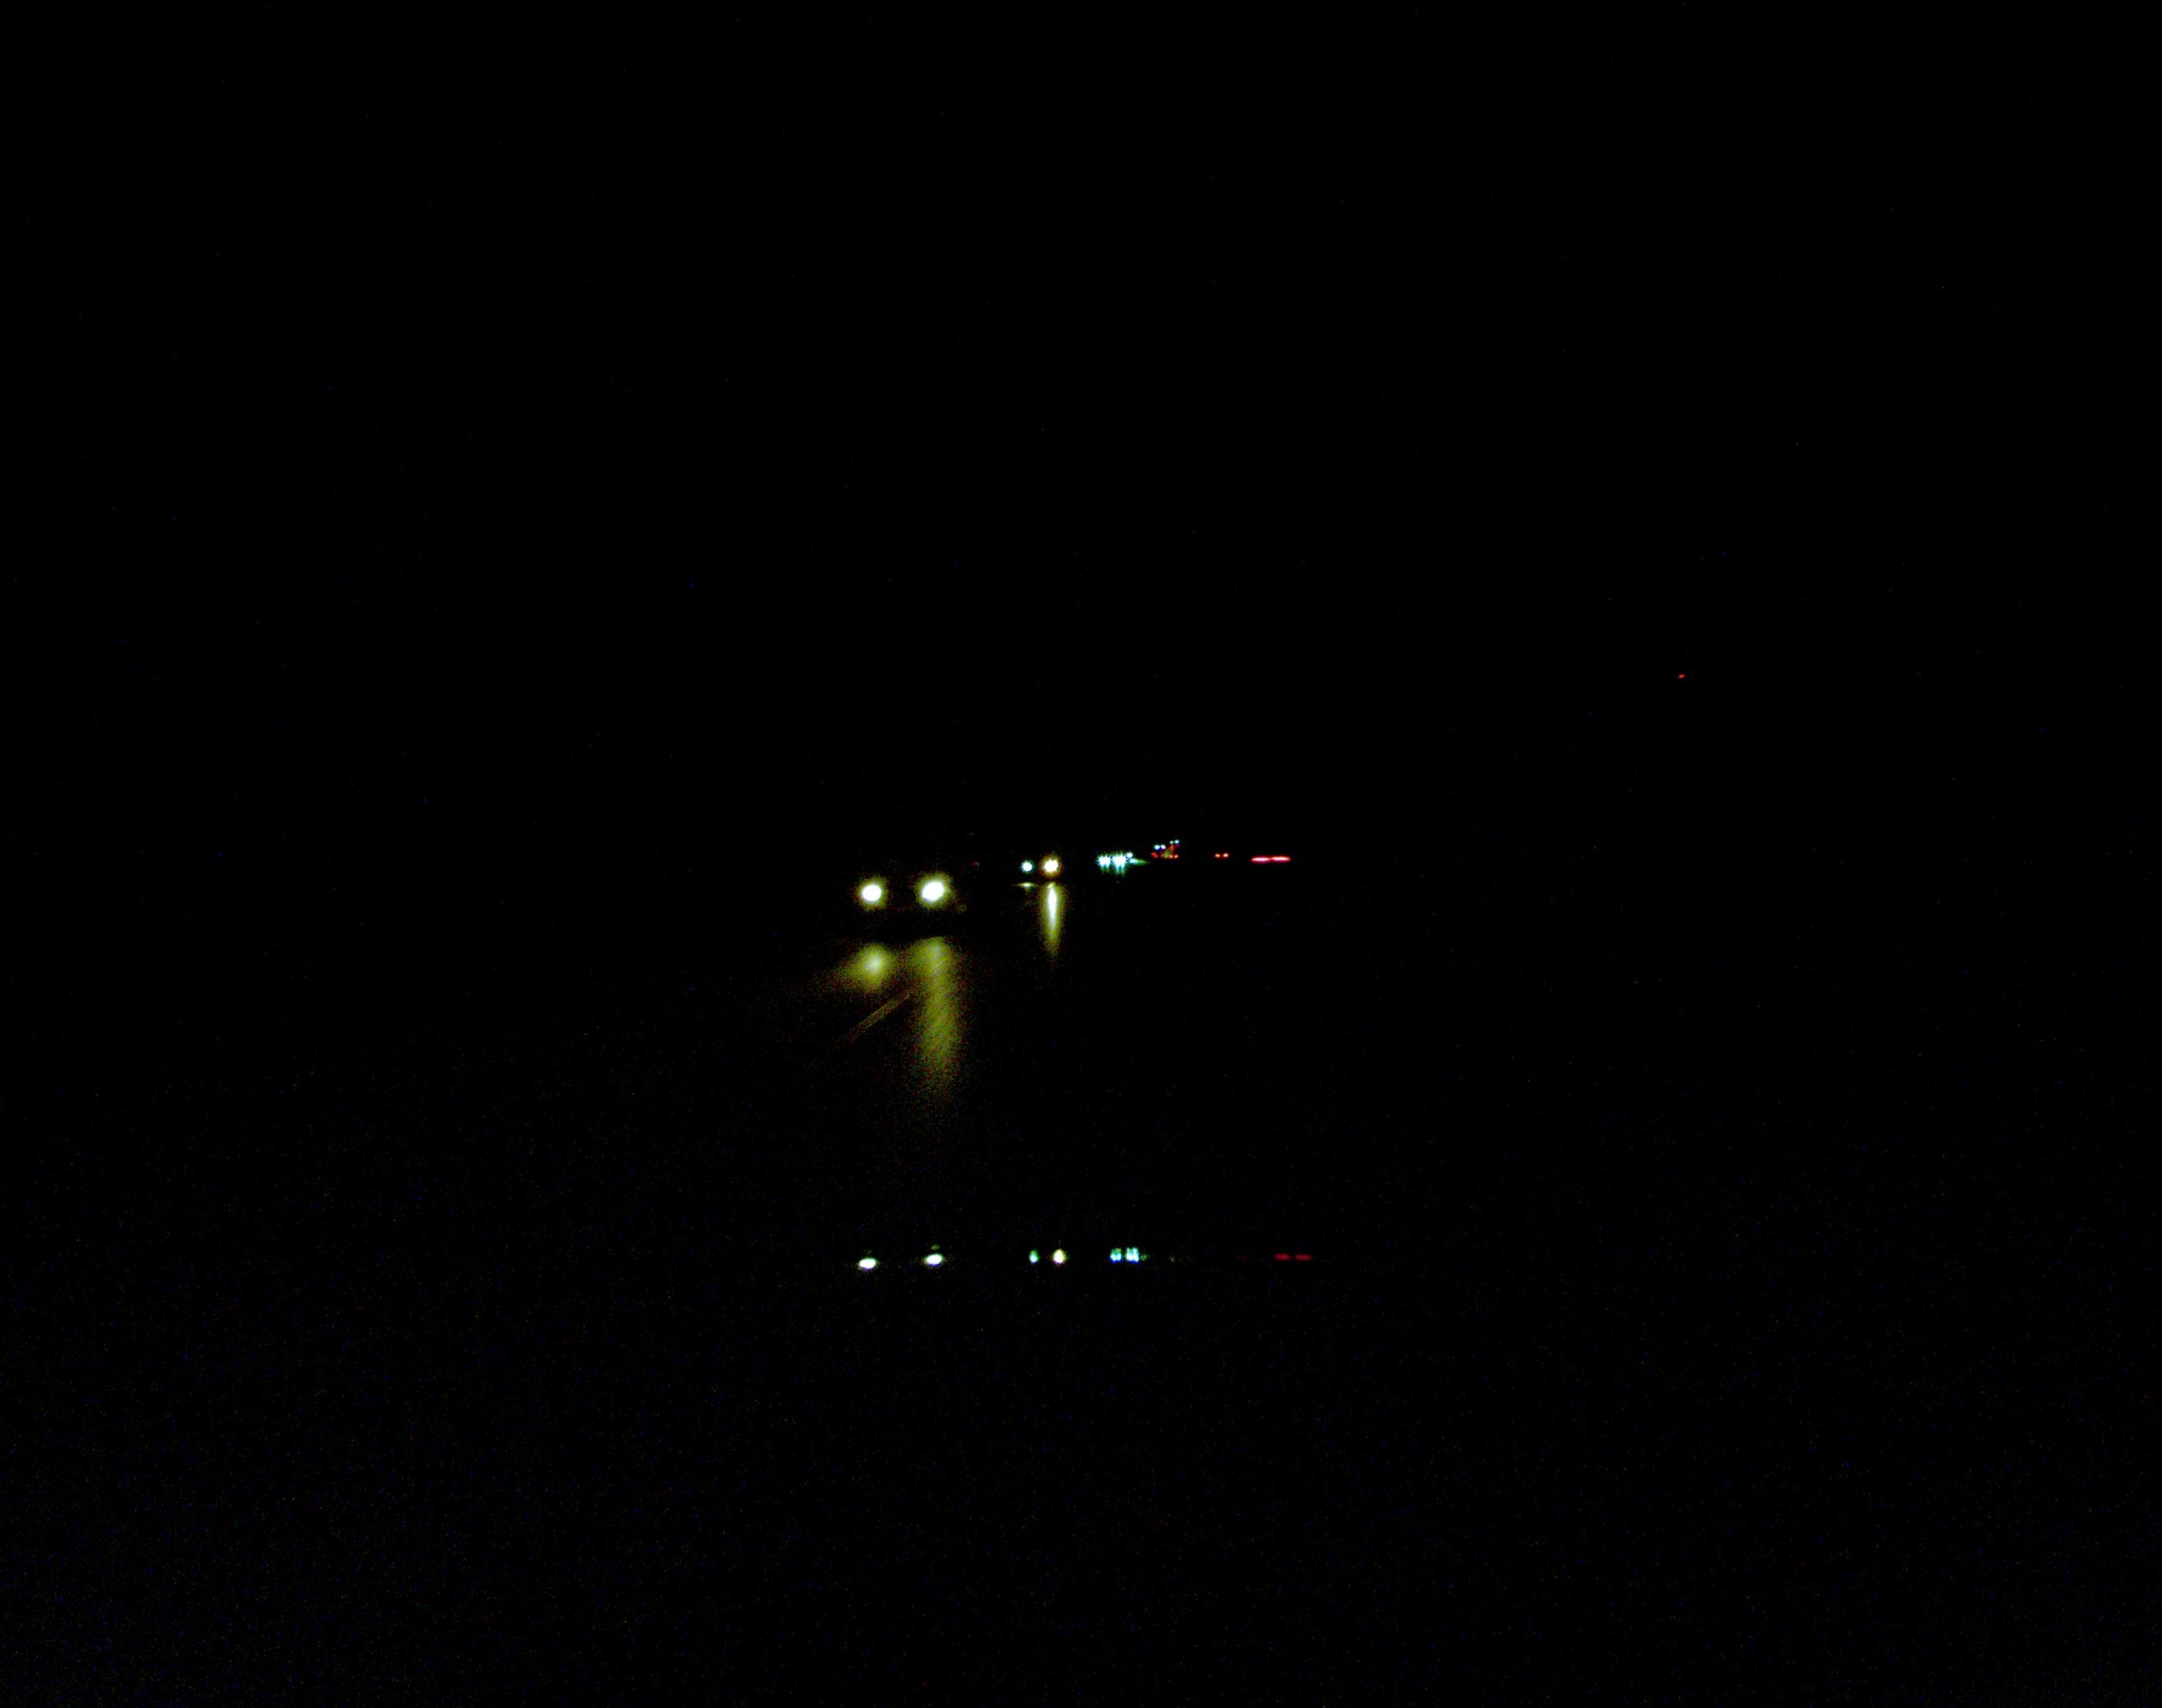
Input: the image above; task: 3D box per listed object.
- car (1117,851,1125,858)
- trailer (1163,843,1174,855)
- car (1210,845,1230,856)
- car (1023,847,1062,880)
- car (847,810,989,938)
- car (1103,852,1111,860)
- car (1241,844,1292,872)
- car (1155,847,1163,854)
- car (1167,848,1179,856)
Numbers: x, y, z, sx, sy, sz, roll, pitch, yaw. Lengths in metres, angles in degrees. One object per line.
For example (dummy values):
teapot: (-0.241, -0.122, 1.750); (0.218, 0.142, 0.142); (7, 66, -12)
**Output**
car: (11.525, 0.083, 220.234); (1.998, 1.735, 3.999); (-2, 2, 1)
trailer: (30.198, -1.826, 262.833); (2.860, 3.957, 13.888); (-2, 0, 3)
car: (22.169, -0.494, 121.369); (2.250, 1.658, 4.887); (-2, 0, 1)
car: (-2.485, 0.591, 50.418); (2.121, 1.989, 5.663); (-2, 0, 1)
car: (-3.797, 0.401, 18.925); (2.037, 2.631, 5.725); (-2, 0, 2)
car: (6.949, 0.522, 203.729); (1.998, 1.762, 3.999); (-2, 2, 1)
car: (12.267, 0.237, 50.570); (2.250, 1.709, 4.887); (-2, 0, 1)
car: (24.159, -1.052, 235.600); (2.249, 2.089, 5.715); (-2, 0, 3)
car: (21.001, -0.539, 174.061); (2.250, 1.658, 4.890); (-2, 0, 1)
